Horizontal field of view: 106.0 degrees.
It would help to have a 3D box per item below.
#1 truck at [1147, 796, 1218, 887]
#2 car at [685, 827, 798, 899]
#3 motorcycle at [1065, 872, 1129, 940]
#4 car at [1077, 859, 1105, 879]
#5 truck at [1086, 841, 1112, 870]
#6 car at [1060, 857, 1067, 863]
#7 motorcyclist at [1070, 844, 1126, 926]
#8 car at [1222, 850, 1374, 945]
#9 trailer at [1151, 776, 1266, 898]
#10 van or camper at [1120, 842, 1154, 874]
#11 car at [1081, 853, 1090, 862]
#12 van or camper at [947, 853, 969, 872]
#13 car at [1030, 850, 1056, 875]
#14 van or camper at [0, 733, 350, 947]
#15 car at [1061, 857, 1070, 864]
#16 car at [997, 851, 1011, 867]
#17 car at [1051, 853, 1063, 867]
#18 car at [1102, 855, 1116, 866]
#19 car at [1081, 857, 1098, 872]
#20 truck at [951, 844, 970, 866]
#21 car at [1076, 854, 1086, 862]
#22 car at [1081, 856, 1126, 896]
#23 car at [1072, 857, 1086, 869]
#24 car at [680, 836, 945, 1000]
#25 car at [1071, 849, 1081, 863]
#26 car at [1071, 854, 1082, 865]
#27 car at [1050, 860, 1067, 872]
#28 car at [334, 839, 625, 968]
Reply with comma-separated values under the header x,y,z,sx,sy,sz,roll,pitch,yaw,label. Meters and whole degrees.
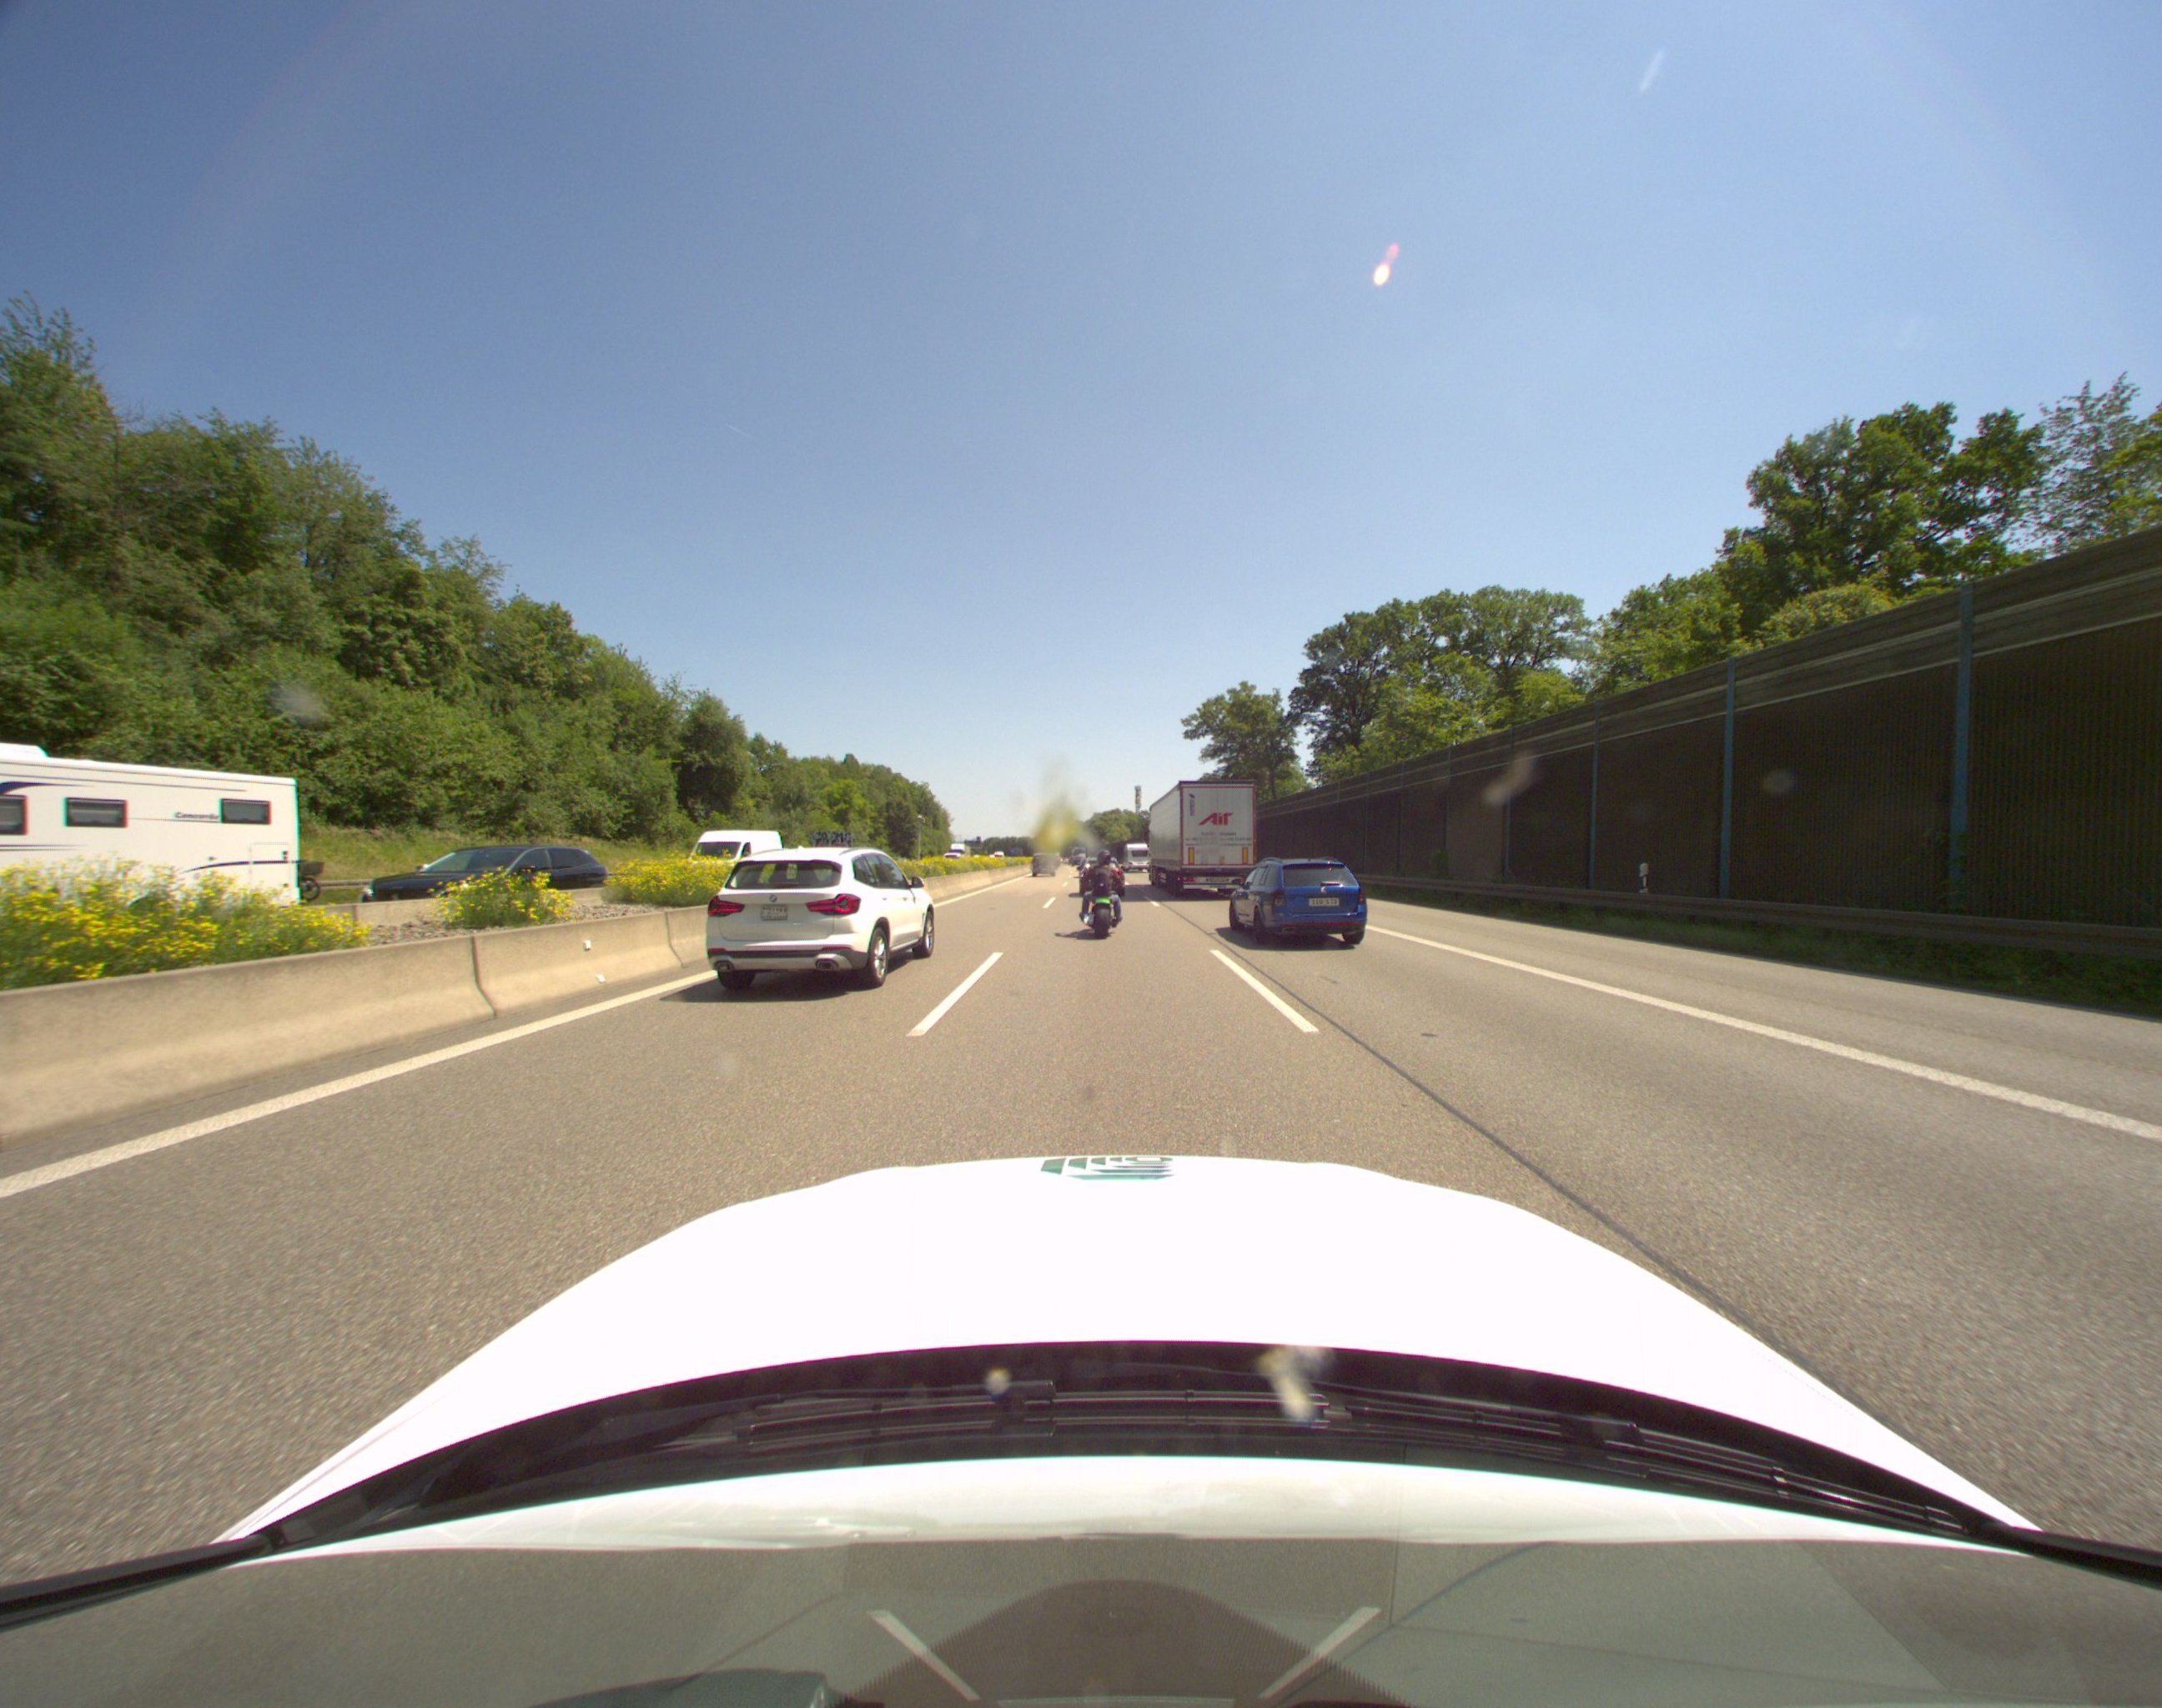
x,y,z,sx,sy,sz,roll,pitch,yaw,label
4.948,-0.566,40.703,2.875,4.146,5.987,-1,0,1,truck
-13.984,0.353,34.031,2.193,2.741,5.747,-1,0,1,car
0.362,0.951,15.823,0.959,1.148,2.817,0,0,7,motorcycle
0.688,1.127,60.228,1.987,1.430,3.846,-1,-1,0,car
3.083,0.348,144.520,3.795,4.960,8.937,-1,-1,-4,truck
-4.773,1.614,220.486,1.828,1.496,3.739,-1,-1,-3,car
0.362,0.584,15.788,0.895,1.475,1.875,-1,-1,7,motorcyclist
3.820,0.738,15.124,1.645,1.483,4.481,-1,-1,0,car
4.834,-0.539,34.073,2.875,4.038,13.796,-1,0,1,trailer
5.132,0.442,75.621,2.676,2.813,6.801,-1,-1,0,van or camper
1.056,0.872,195.243,2.102,1.876,3.996,-1,-1,-2,car
-13.345,0.950,88.501,1.686,2.012,4.213,-1,0,1,van or camper
-2.985,0.725,64.334,1.893,1.874,4.410,-1,-1,-1,car
-18.020,-0.169,14.046,2.531,3.318,9.003,-1,-1,1,van or camper
-3.503,1.463,179.285,1.826,1.496,3.744,-1,-1,1,car
-15.044,0.969,158.976,2.062,2.896,7.460,-1,0,0,car
-3.694,0.907,123.914,1.786,2.014,3.639,-1,-1,-1,car
4.362,0.986,125.530,1.987,1.574,3.998,-1,-1,-1,car
0.850,1.062,87.065,1.774,1.552,3.584,0,0,0,car
-22.924,0.231,155.393,2.956,4.107,6.083,-1,-1,-2,truck
0.003,1.012,200.686,2.102,1.876,3.996,-1,-1,-2,car
0.856,0.860,32.276,1.656,1.453,3.869,-1,-1,1,car
-0.342,1.386,123.691,1.988,1.640,3.997,-1,-1,-1,car
-3.233,0.689,11.014,1.858,1.694,4.956,-1,0,1,car
-1.373,0.526,214.731,2.129,3.862,8.132,0,0,-3,car
-0.885,1.103,154.616,1.906,2.014,3.688,-1,-1,-2,car
-2.779,1.538,102.300,1.987,1.387,3.998,-1,-1,0,car
-10.186,0.754,14.261,1.985,1.926,4.003,0,0,3,car
